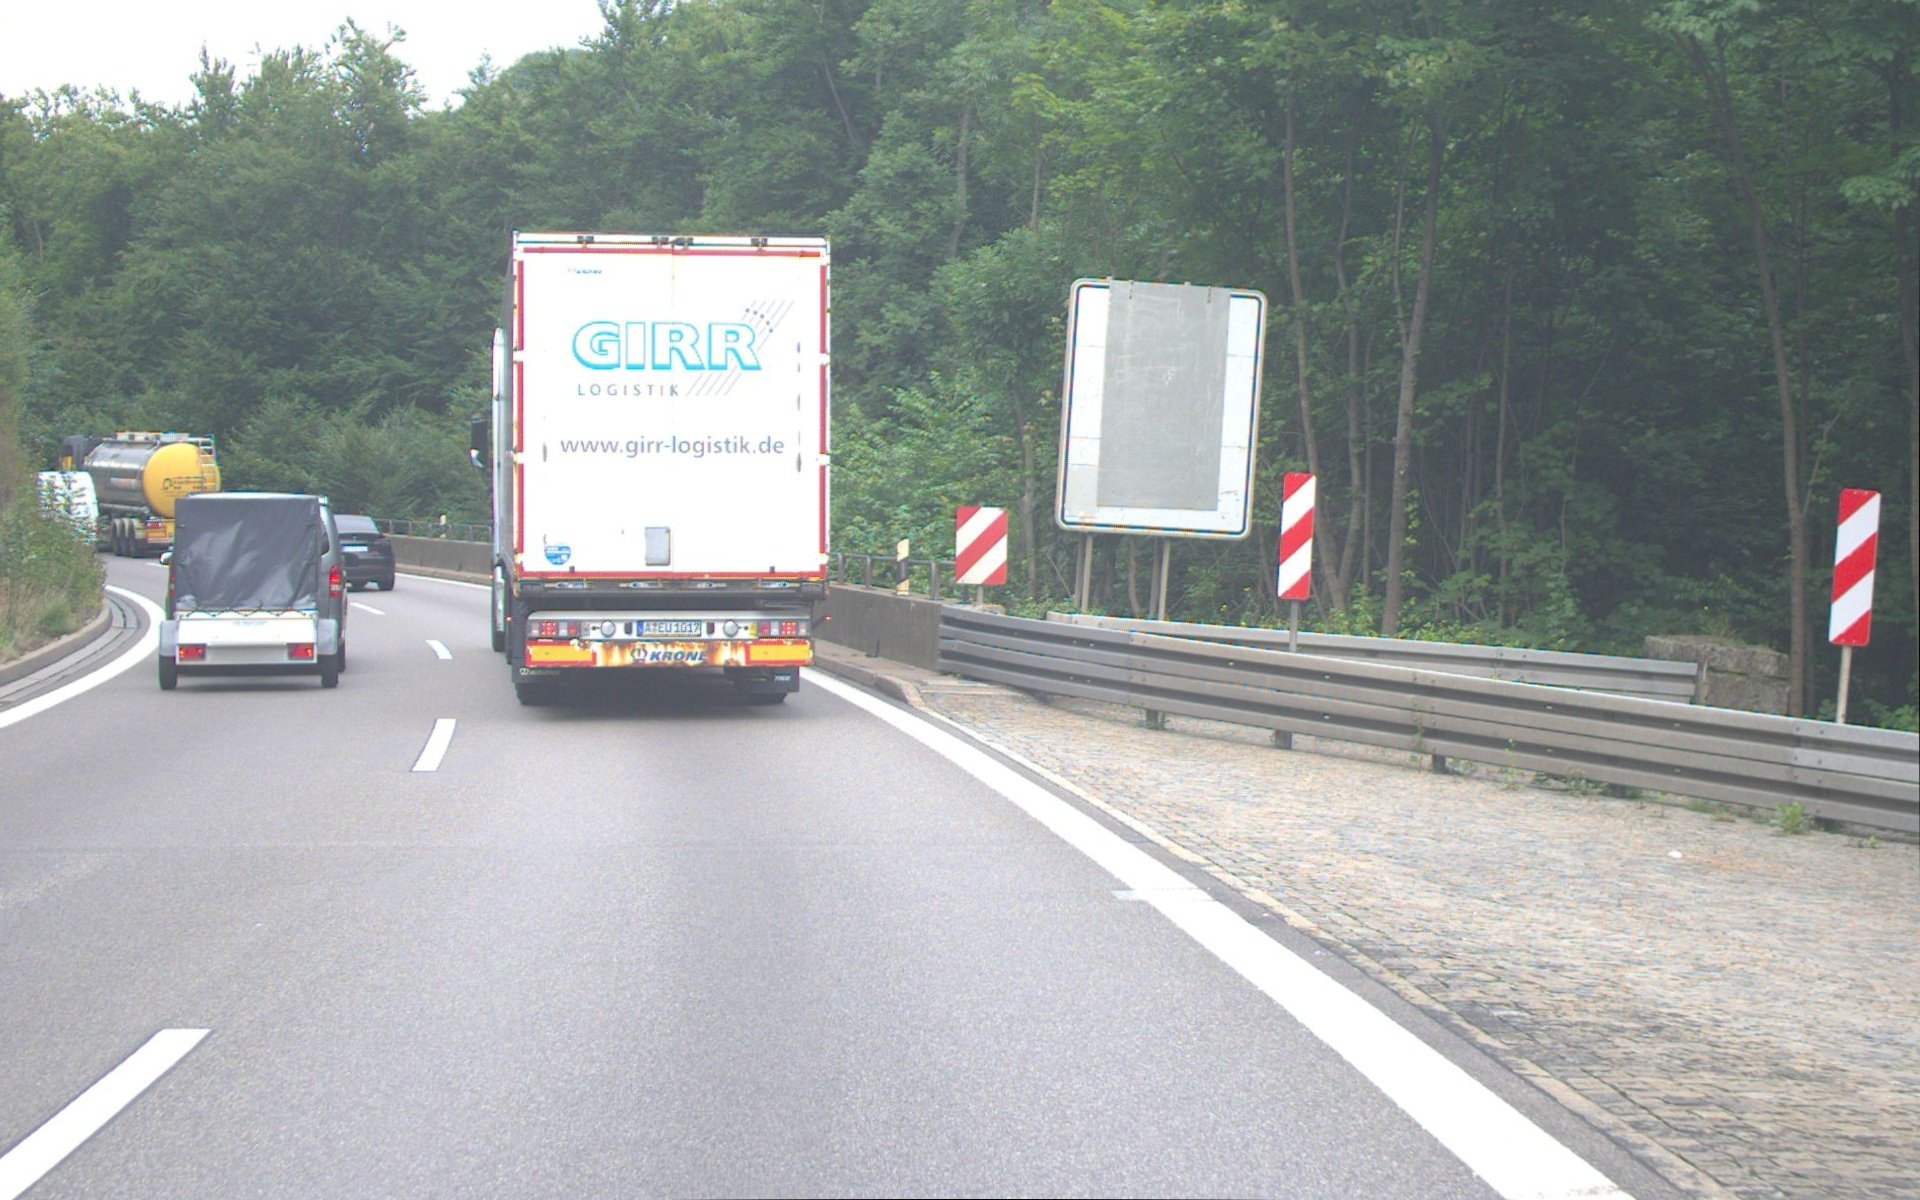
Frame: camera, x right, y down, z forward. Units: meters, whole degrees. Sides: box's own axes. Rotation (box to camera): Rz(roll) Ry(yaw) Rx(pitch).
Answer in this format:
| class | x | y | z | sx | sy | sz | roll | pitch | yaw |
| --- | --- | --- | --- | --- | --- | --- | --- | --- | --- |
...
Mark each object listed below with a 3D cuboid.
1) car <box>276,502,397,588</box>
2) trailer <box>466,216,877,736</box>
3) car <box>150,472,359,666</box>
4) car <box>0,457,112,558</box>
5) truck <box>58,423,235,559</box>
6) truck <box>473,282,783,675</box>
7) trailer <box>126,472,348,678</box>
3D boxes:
| class | x | y | z | sx | sy | sz | roll | pitch | yaw |
| --- | --- | --- | --- | --- | --- | --- | --- | --- | --- |
| car | -13.132 | -1.172 | 72.273 | 1.993 | 1.656 | 4.002 | 2 | 1 | -17 |
| trailer | -3.066 | -1.265 | 33.253 | 3.057 | 3.972 | 12.141 | 3 | 2 | -8 |
| car | -7.819 | -0.360 | 38.522 | 1.993 | 2.007 | 5.542 | 0 | 1 | -9 |
| car | -25.609 | -2.657 | 97.250 | 1.988 | 2.663 | 6.938 | 2 | 1 | -23 |
| truck | -25.501 | -3.376 | 107.162 | 3.057 | 3.972 | 13.702 | -1 | 2 | -23 |
| truck | -3.944 | -1.441 | 39.624 | 3.057 | 3.972 | 7.189 | 3 | 2 | -8 |
| trailer | -7.111 | -0.257 | 34.103 | 1.970 | 1.933 | 3.431 | 0 | 1 | -9 |
